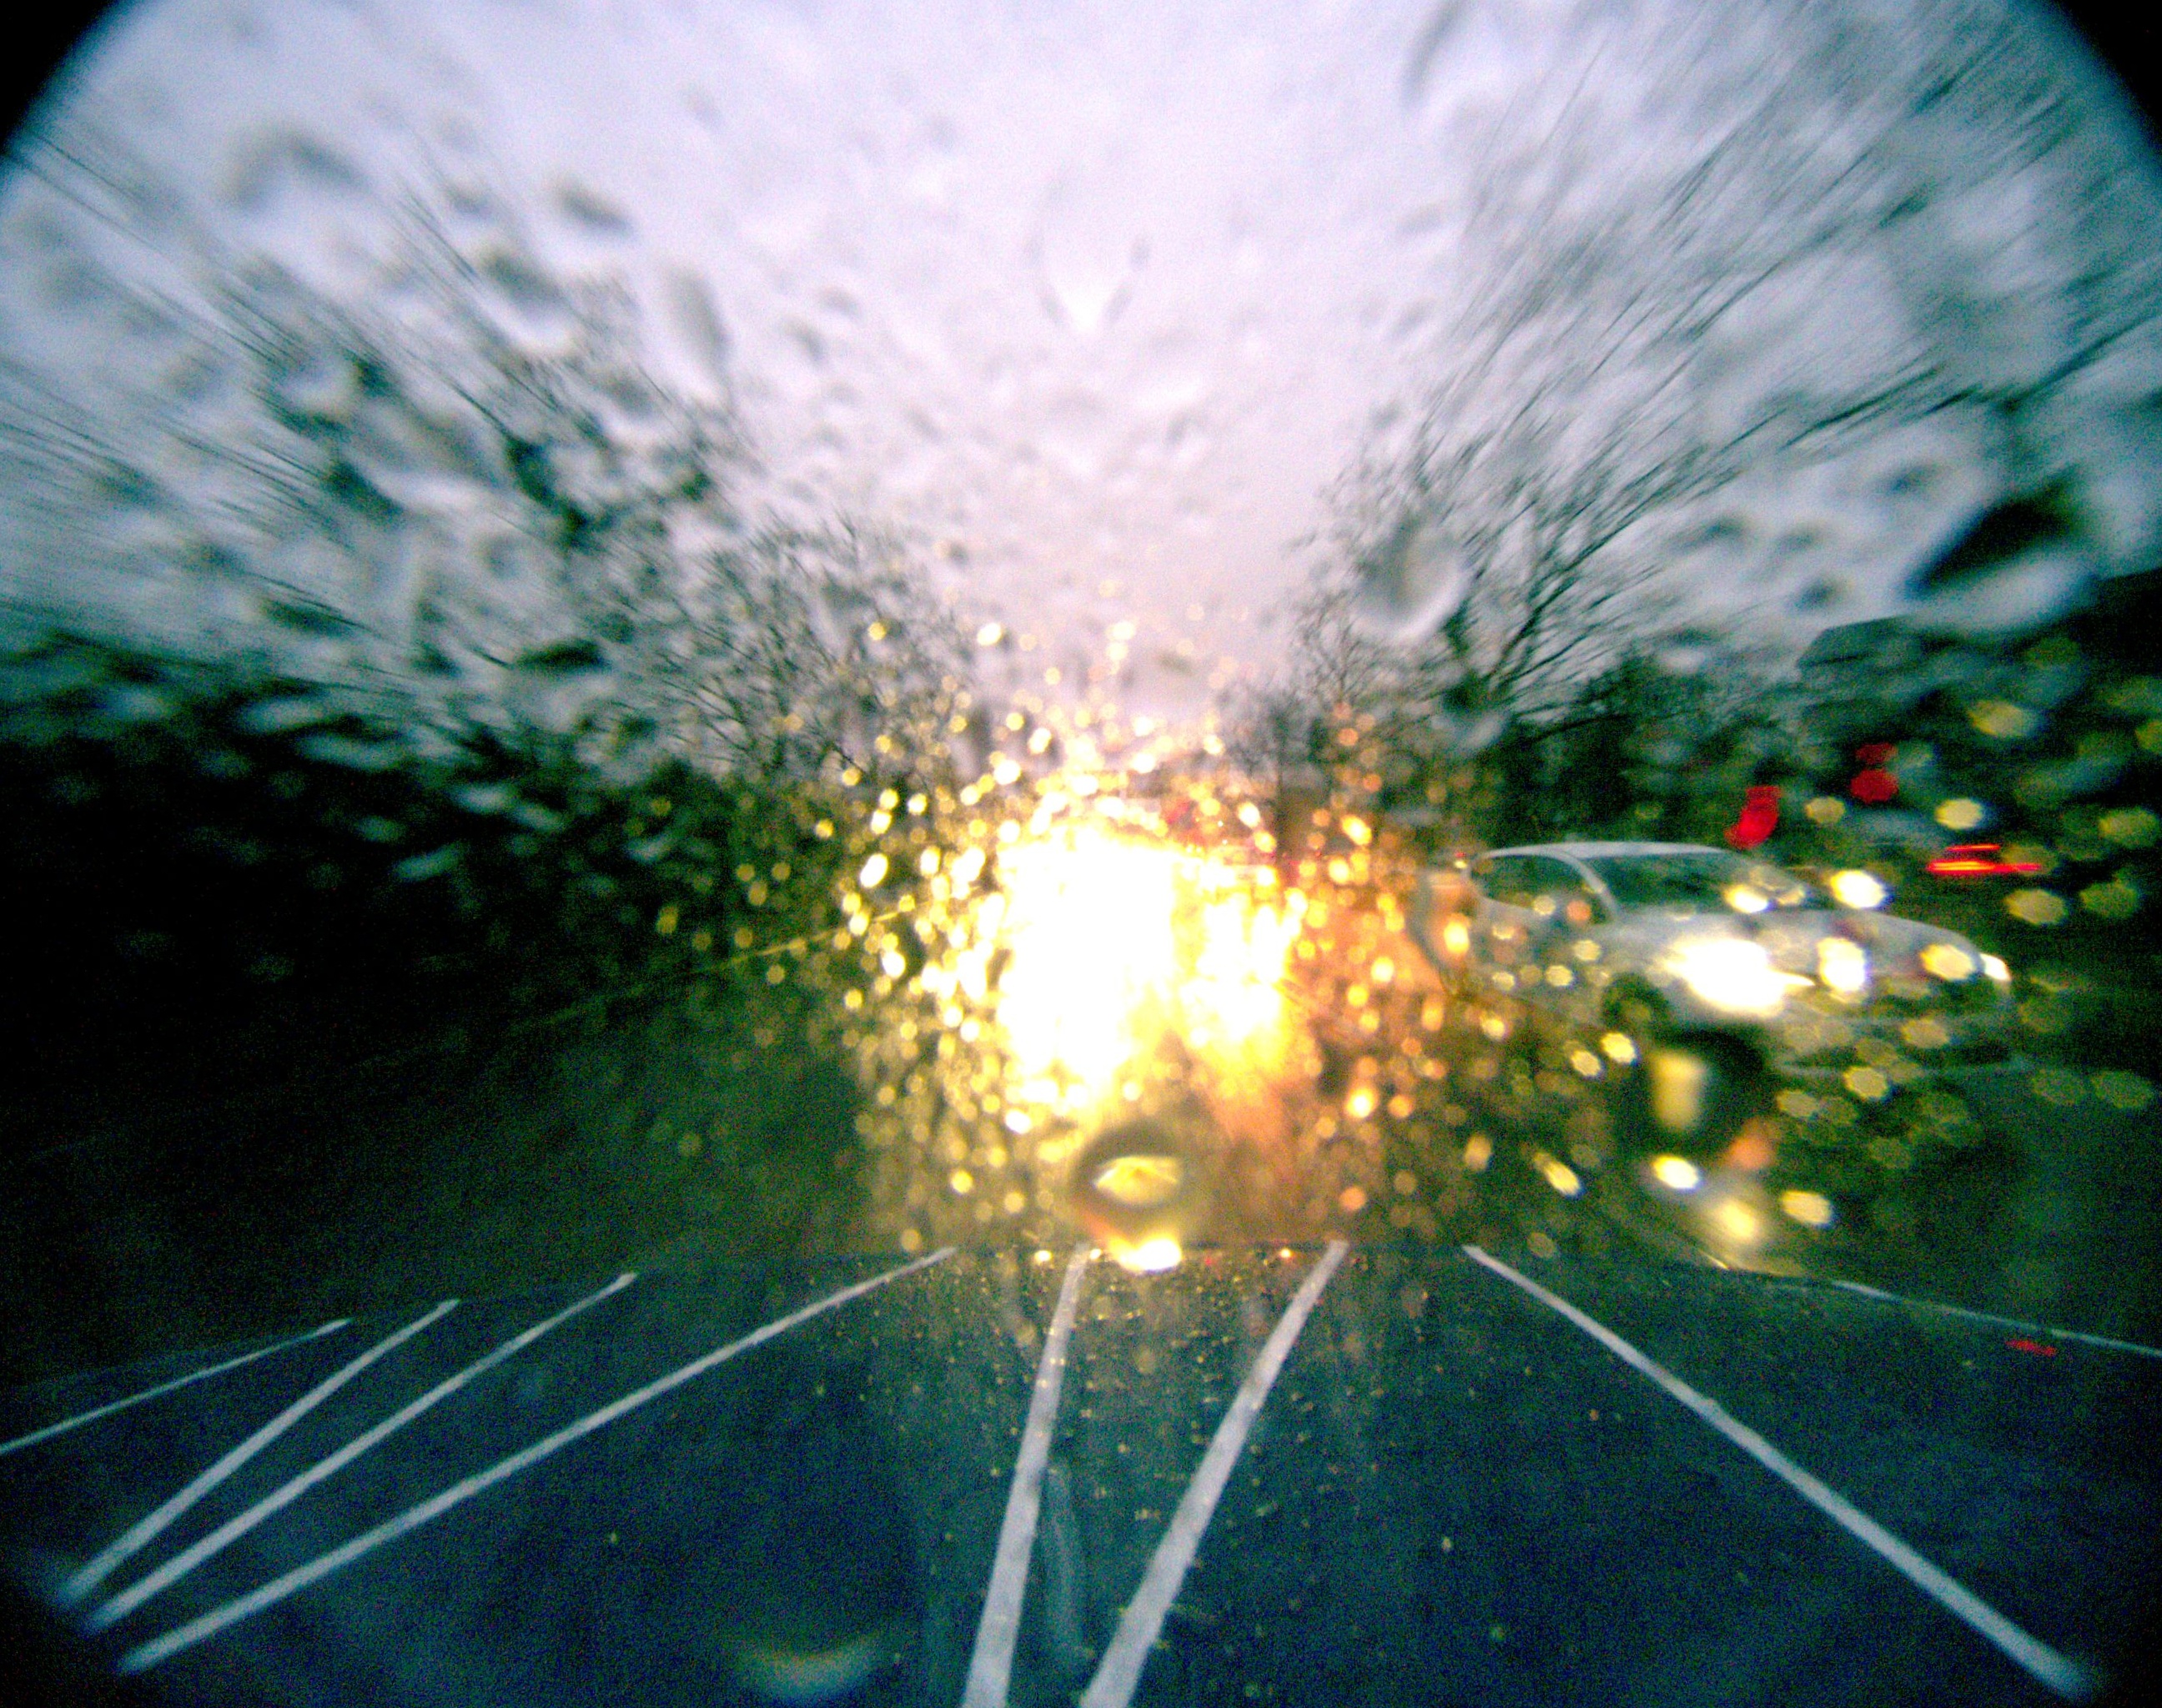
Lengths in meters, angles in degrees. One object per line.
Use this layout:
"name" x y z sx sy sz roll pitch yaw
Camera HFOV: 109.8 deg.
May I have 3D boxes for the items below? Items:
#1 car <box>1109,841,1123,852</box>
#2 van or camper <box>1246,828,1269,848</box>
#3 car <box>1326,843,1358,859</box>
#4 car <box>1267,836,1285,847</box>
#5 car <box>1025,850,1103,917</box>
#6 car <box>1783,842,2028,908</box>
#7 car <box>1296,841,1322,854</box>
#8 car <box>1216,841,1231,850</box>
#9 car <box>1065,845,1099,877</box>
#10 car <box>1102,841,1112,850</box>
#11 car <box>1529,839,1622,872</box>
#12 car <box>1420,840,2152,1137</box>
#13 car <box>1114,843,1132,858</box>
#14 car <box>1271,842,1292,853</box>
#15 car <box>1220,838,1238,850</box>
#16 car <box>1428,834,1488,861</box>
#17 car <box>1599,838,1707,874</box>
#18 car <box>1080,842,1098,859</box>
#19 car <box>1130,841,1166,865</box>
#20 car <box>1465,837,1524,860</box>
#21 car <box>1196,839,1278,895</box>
"car" 5.040 -1.094 110.008 1.852 1.610 3.950 -2 1 1
"van or camper" 23.485 -2.157 101.103 1.967 2.594 4.738 -1 1 1
"car" 22.435 -0.299 65.446 1.541 1.320 3.956 -1 1 1
"car" 27.626 -1.797 107.739 1.573 1.397 4.000 -2 1 3
"car" -0.364 0.699 20.185 1.830 1.524 3.999 -1 1 1
"car" 21.514 0.476 20.159 1.788 1.524 4.377 -1 1 1
"car" 22.943 -0.669 76.569 1.541 1.304 3.999 -1 1 1
"car" 20.263 -1.185 108.279 1.459 1.190 3.999 -2 1 1
"car" 0.079 0.333 40.632 1.728 1.573 3.790 -1 1 1
"car" 4.952 -1.633 144.163 1.852 1.610 3.950 -2 1 1
"car" 21.843 0.016 33.759 1.653 1.346 3.956 -1 1 1
"car" 4.368 0.627 5.817 1.728 1.432 4.225 -1 1 1
"car" 4.800 -0.476 87.573 1.852 1.610 3.950 -2 1 1
"car" 23.054 -0.764 87.475 1.541 1.285 3.999 -1 1 1
"car" 19.968 -1.395 102.538 1.573 1.495 3.999 -2 1 1
"car" 22.340 -0.410 45.160 1.653 1.491 3.956 -1 1 1
"car" 25.580 0.053 34.201 1.722 1.480 4.271 -1 1 1
"car" 0.867 -0.389 81.371 1.852 1.610 3.950 -2 1 1
"car" 4.457 -0.118 51.273 2.026 1.522 4.145 -1 1 0
"car" 25.906 -0.346 47.731 1.653 1.346 3.704 -1 1 -1
"car" 4.788 0.338 23.819 1.765 1.590 4.164 -1 1 1
